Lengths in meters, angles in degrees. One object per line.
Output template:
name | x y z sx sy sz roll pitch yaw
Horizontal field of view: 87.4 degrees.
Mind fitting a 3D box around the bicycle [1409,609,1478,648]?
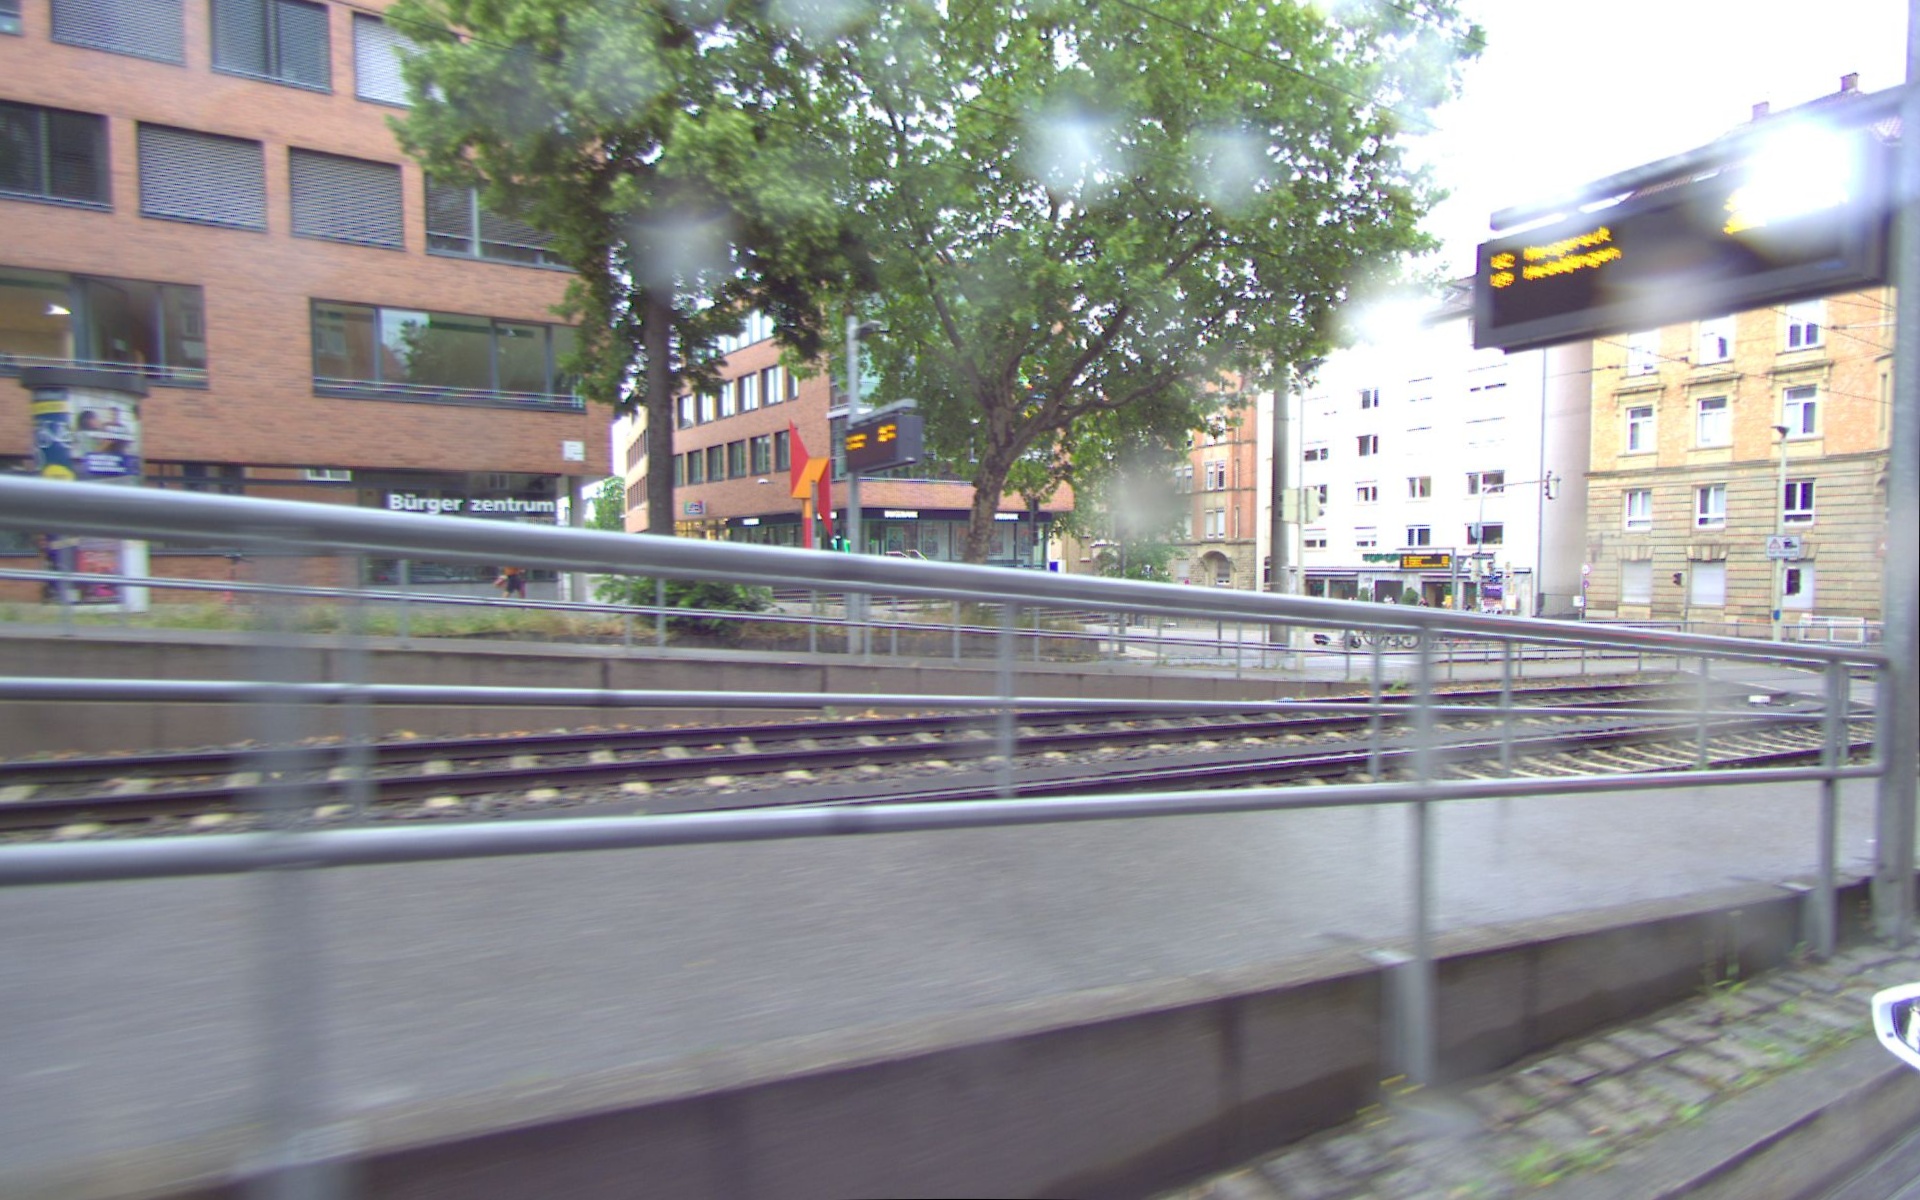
bicycle | 14.827 0.858 30.845 0.513 1.079 1.855 1 1 -39

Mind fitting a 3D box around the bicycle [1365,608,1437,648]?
bicycle | 12.722 0.792 29.027 0.513 1.076 1.855 1 1 -40

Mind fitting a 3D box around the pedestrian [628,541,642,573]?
pedestrian | -20.933 -2.759 64.719 0.709 2.041 0.714 1 1 -33

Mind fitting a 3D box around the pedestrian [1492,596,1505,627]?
pedestrian | 29.072 0.629 54.248 0.508 1.644 0.486 2 1 22

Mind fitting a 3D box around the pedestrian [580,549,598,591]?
pedestrian | -18.489 -1.476 50.062 0.710 2.040 0.714 1 1 -34

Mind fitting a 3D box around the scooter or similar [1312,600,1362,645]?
scooter or similar | 10.462 0.617 27.893 1.226 1.211 0.299 2 1 10

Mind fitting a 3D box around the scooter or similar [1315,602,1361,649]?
scooter or similar | 10.252 0.689 27.275 1.089 1.211 0.362 2 1 10

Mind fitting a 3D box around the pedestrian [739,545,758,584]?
pedestrian | -11.184 -1.863 53.106 0.710 2.040 0.714 1 1 -34

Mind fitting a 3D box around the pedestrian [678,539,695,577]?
pedestrian | -14.881 -2.275 54.675 0.710 2.040 0.714 1 1 -34

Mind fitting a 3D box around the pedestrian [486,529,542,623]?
pedestrian | -9.936 -0.529 22.368 0.971 2.041 0.727 1 1 -37

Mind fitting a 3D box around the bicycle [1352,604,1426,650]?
bicycle | 12.046 0.742 28.264 0.513 1.211 1.855 1 1 -39

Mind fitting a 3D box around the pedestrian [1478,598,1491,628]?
pedestrian | 28.611 0.700 54.774 0.508 1.644 0.486 2 1 22

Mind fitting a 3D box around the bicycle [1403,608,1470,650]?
bicycle | 14.337 0.858 30.248 0.513 1.158 1.752 1 1 -39
